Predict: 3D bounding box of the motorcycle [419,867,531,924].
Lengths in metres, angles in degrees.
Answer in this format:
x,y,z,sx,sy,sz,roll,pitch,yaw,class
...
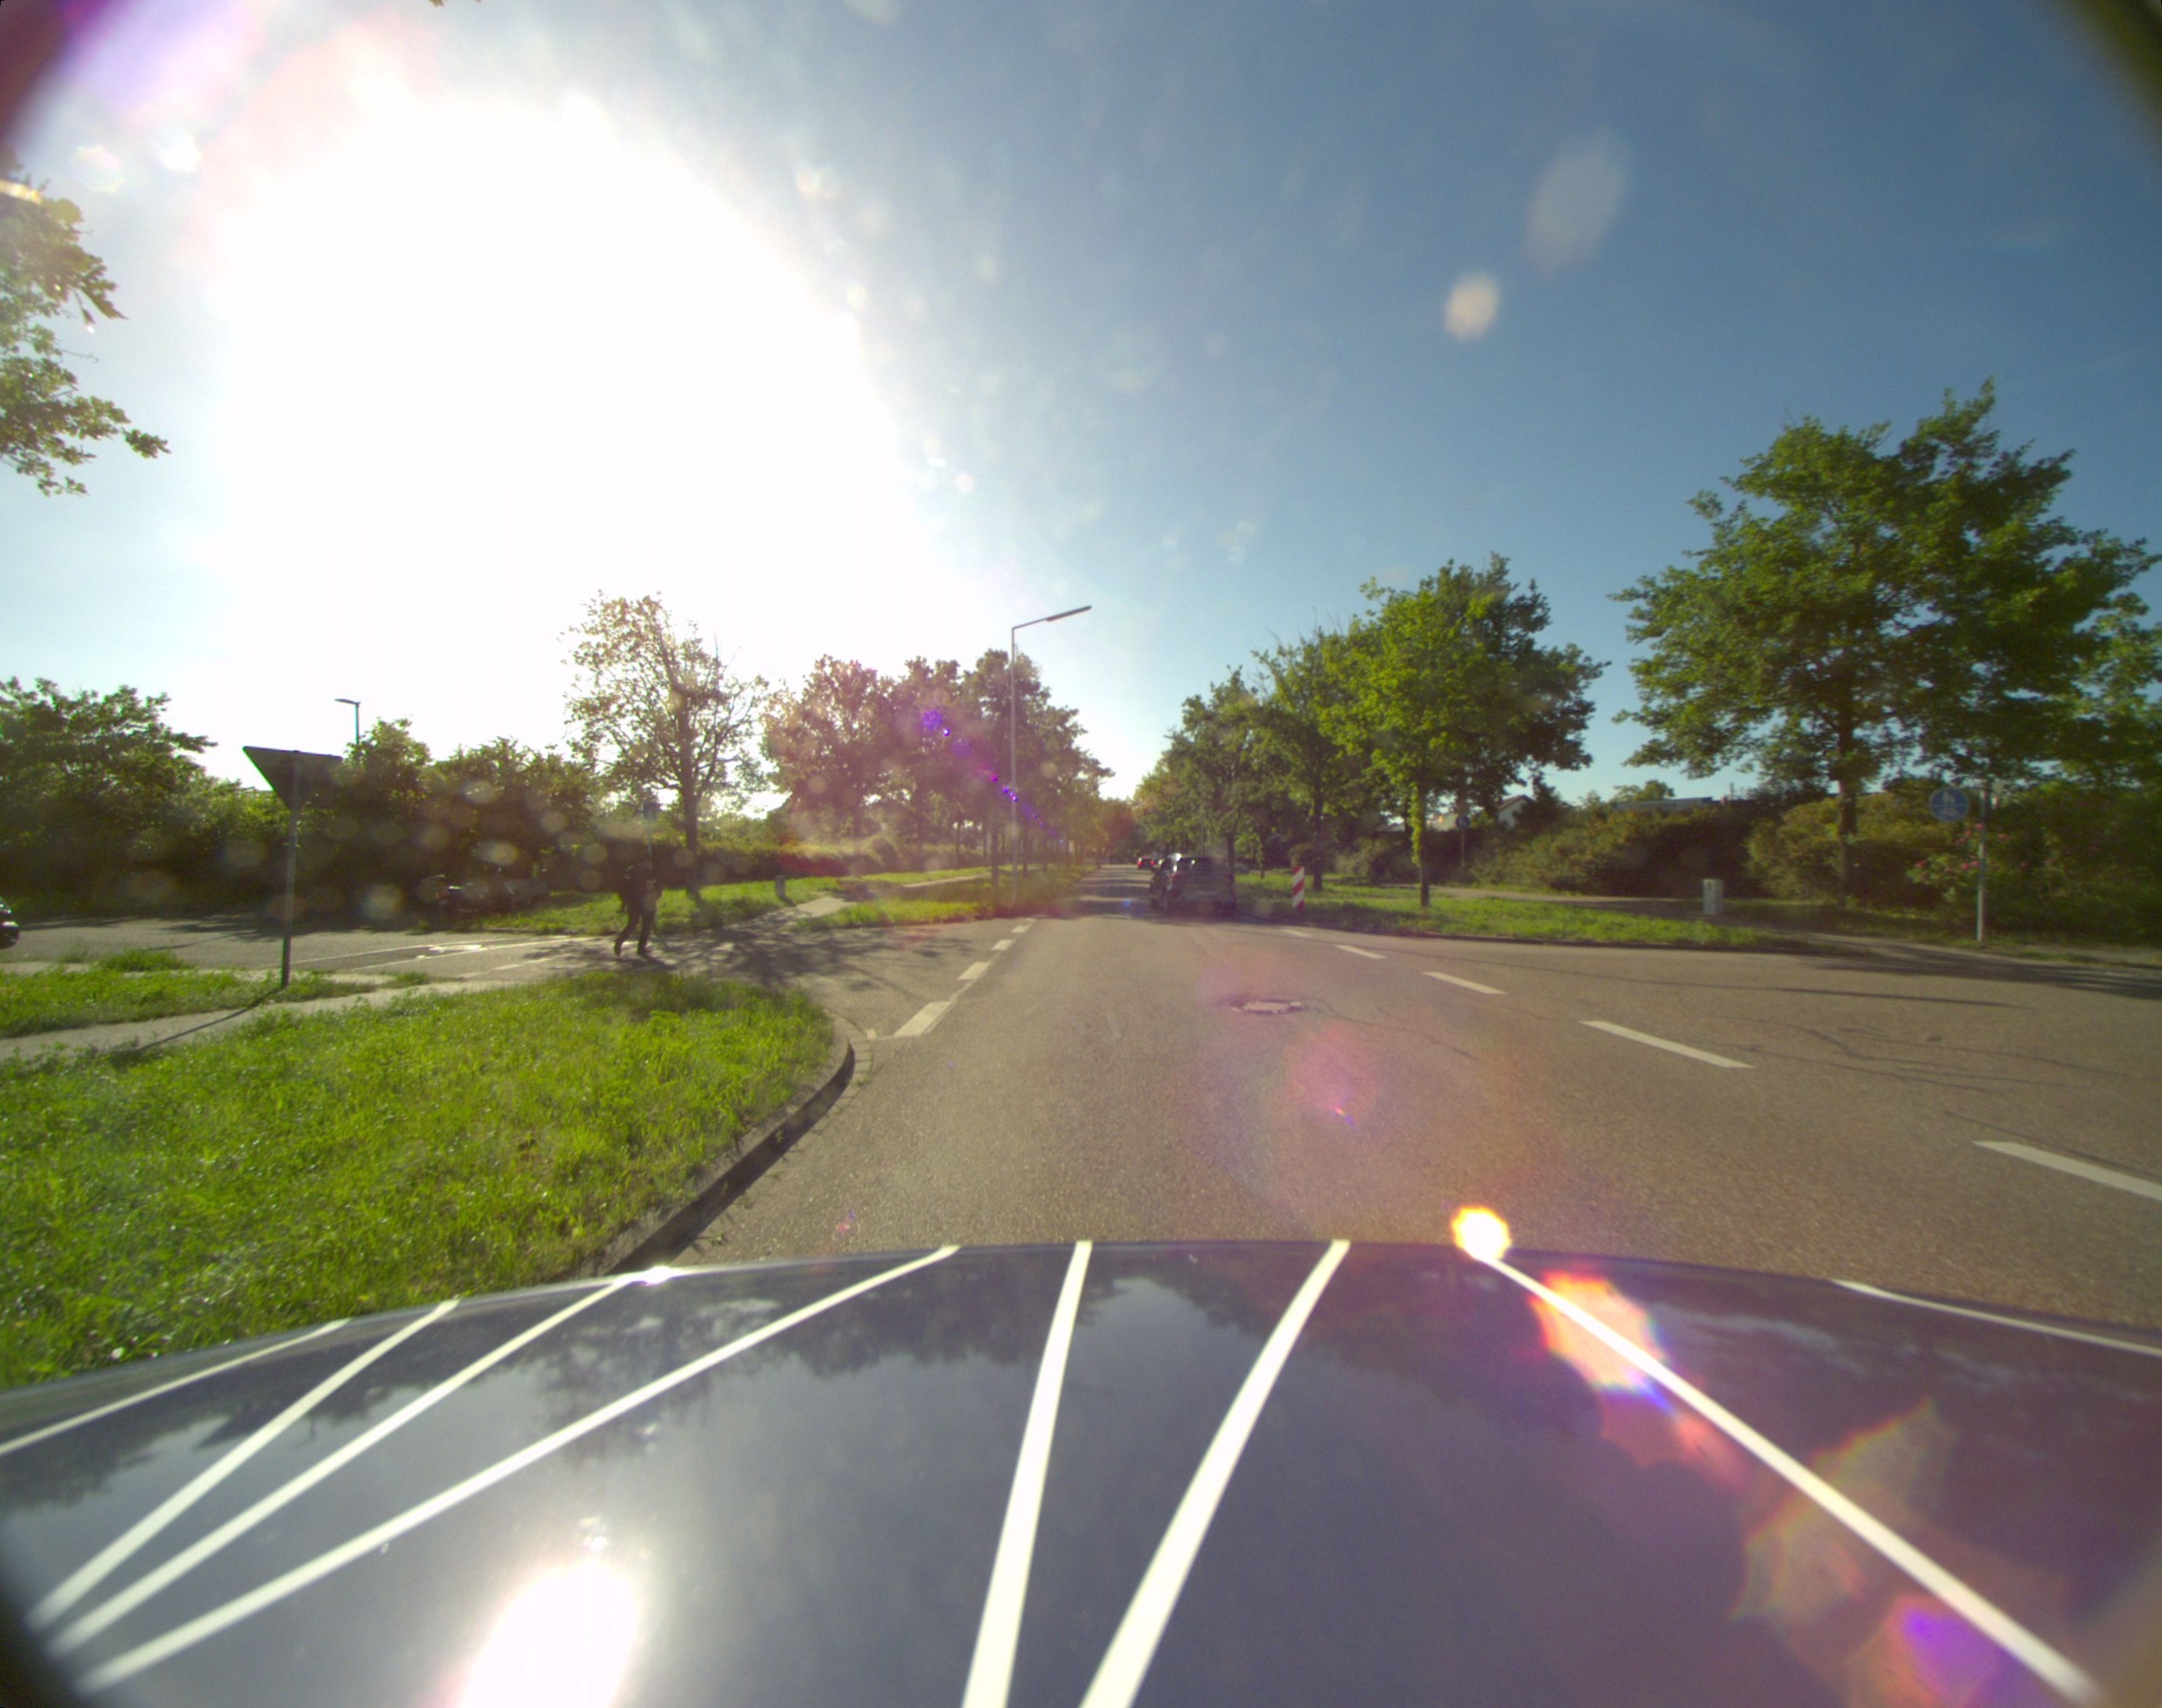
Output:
x,y,z,sx,sy,sz,roll,pitch,yaw,class
-16.165,1.077,20.375,0.664,1.225,2.407,0,4,12,motorcycle

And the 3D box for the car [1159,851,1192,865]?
x,y,z,sx,sy,sz,roll,pitch,yaw,class
12.061,0.502,96.794,4.071,1.633,1.877,-2,0,5,car

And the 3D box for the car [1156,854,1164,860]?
x,y,z,sx,sy,sz,roll,pitch,yaw,class
18.576,0.767,179.122,1.688,1.394,4.428,1,0,4,car

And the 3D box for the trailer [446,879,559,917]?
x,y,z,sx,sy,sz,roll,pitch,yaw,class
-16.935,1.265,22.341,1.581,0.863,2.055,0,4,13,trailer

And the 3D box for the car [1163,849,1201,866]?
x,y,z,sx,sy,sz,roll,pitch,yaw,class
12.117,0.400,91.392,4.237,1.872,1.999,-2,0,3,car

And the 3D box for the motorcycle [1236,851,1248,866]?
x,y,z,sx,sy,sz,roll,pitch,yaw,class
16.032,0.406,75.634,0.739,1.424,1.991,-4,0,4,motorcycle

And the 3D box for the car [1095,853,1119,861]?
x,y,z,sx,sy,sz,roll,pitch,yaw,class
4.977,0.529,146.321,4.510,1.471,1.942,0,0,5,car

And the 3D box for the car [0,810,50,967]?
x,y,z,sx,sy,sz,roll,pitch,yaw,class
-19.127,0.479,10.147,2.087,2.550,5.980,-2,-3,13,car

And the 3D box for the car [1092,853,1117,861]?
x,y,z,sx,sy,sz,roll,pitch,yaw,class
4.408,0.569,141.304,4.510,1.471,1.942,0,0,5,car

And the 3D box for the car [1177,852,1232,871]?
x,y,z,sx,sy,sz,roll,pitch,yaw,class
10.671,0.649,65.854,4.423,1.502,2.088,-2,0,2,car

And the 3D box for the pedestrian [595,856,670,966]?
x,y,z,sx,sy,sz,roll,pitch,yaw,class
-7.628,0.943,12.959,0.727,1.802,0.867,0,1,0,pedestrian

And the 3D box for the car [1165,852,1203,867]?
x,y,z,sx,sy,sz,roll,pitch,yaw,class
11.678,0.577,86.261,4.145,1.547,1.866,-2,0,5,car

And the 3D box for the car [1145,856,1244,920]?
x,y,z,sx,sy,sz,roll,pitch,yaw,class
2.930,0.832,20.571,1.809,1.528,4.494,1,0,-2,car

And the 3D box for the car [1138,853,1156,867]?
x,y,z,sx,sy,sz,roll,pitch,yaw,class
7.407,0.662,85.168,1.769,1.520,4.496,1,0,2,car

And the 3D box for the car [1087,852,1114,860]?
x,y,z,sx,sy,sz,roll,pitch,yaw,class
3.415,0.383,132.685,4.510,1.471,1.942,0,0,5,car

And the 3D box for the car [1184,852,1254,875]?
x,y,z,sx,sy,sz,roll,pitch,yaw,class
9.944,0.688,55.175,4.638,1.549,2.191,-2,0,-1,car

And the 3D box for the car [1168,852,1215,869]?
x,y,z,sx,sy,sz,roll,pitch,yaw,class
11.042,0.600,76.135,4.422,1.547,2.089,-2,0,5,car
